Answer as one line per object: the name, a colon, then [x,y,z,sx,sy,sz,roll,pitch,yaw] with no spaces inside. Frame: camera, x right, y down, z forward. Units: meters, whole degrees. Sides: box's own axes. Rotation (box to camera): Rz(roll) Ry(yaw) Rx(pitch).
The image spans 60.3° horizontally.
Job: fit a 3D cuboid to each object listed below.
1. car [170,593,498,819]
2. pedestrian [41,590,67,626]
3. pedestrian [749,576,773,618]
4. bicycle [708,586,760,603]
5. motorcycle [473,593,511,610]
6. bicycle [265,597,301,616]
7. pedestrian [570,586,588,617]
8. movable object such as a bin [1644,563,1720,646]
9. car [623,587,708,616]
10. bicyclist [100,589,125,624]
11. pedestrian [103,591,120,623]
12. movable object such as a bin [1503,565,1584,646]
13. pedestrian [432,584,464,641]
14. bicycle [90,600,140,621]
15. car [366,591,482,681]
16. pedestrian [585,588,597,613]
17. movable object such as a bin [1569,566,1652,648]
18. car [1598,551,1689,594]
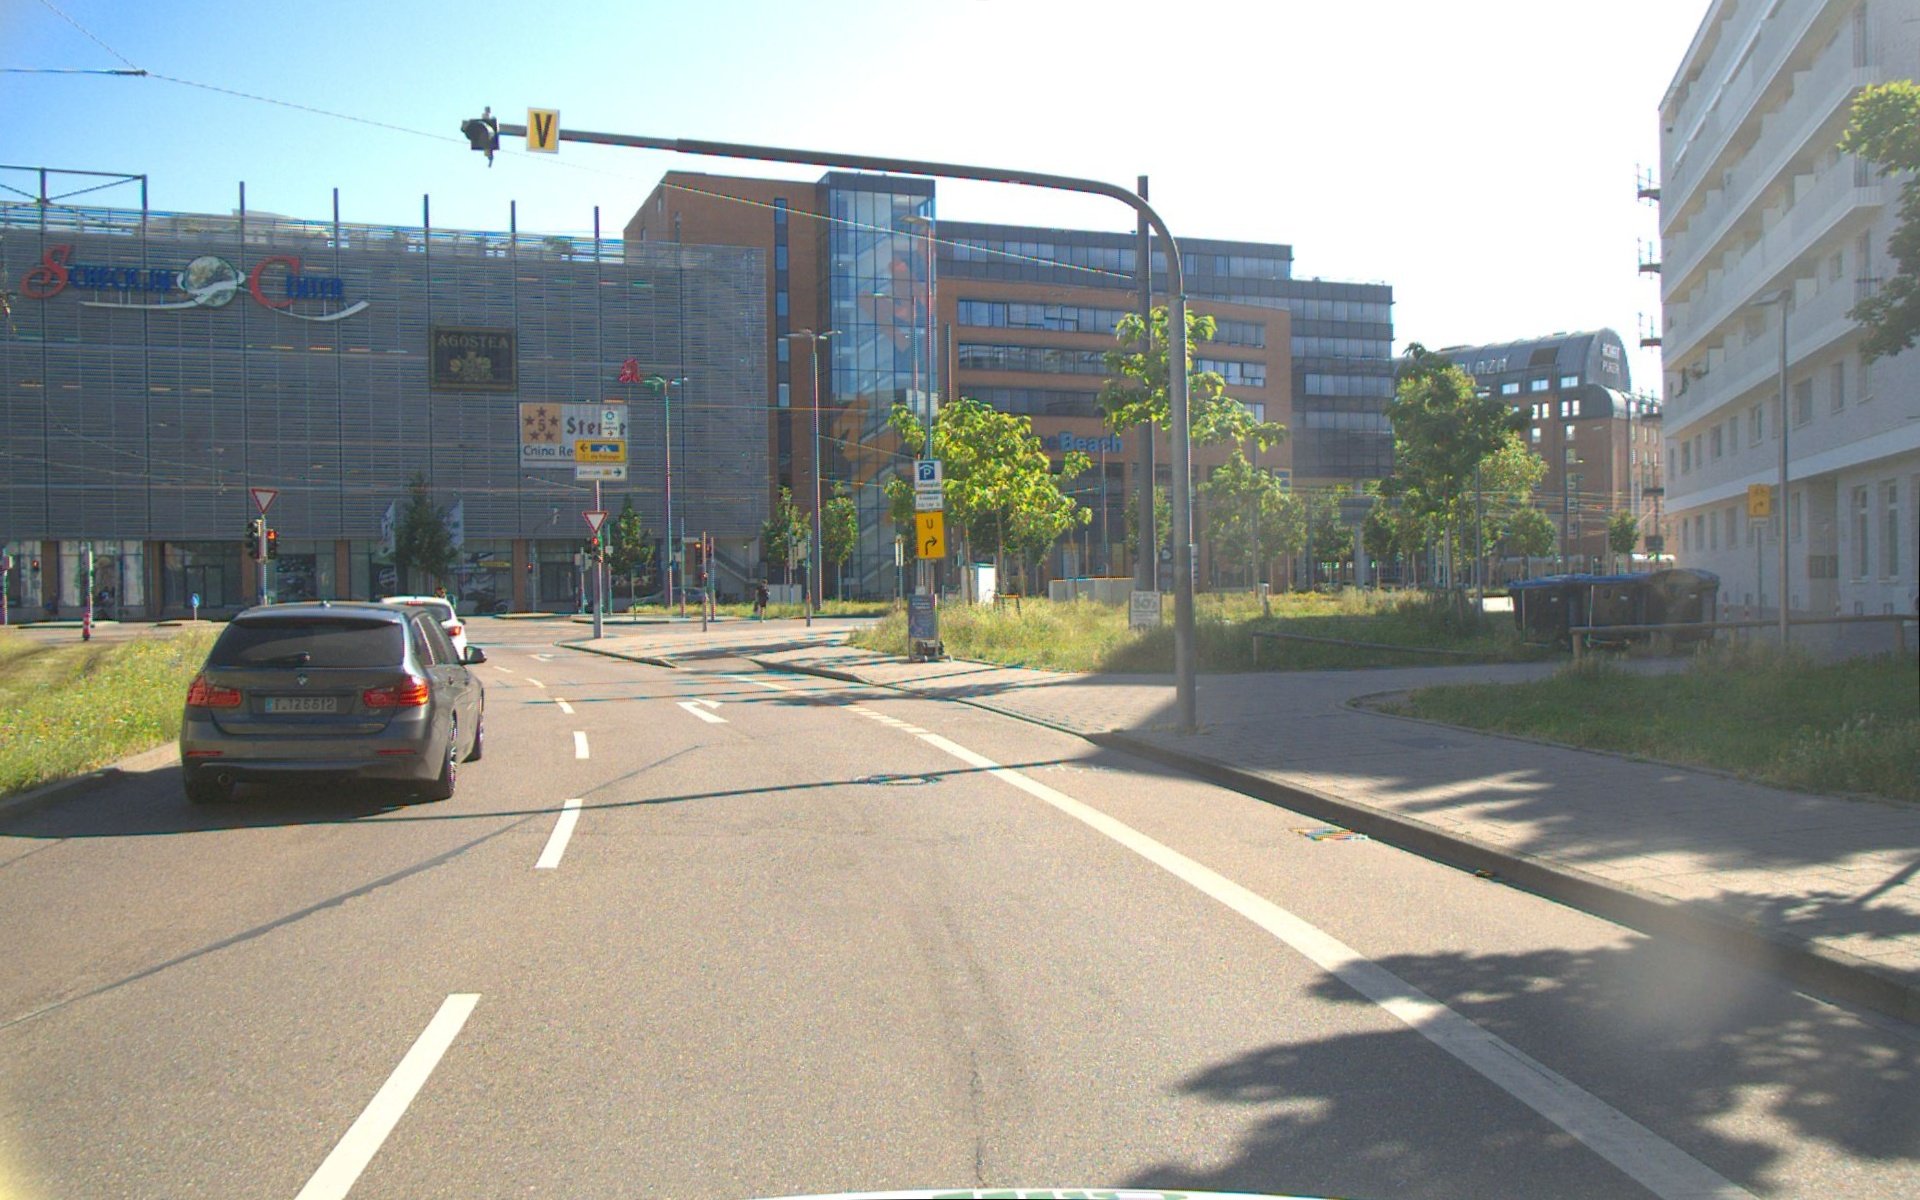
car: [-4.677,0.714,12.988,1.704,1.448,4.454,2,-1,-12]
pedestrian: [-48.352,0.423,88.270,0.884,1.901,0.821,-1,0,20]
pedestrian: [-8.225,-0.129,68.376,0.795,1.738,0.756,-1,0,-23]
bicycle: [-14.918,-0.391,109.100,3.307,1.096,1.112,0,1,-17]
motorcycle: [-29.057,0.094,102.708,2.172,1.061,1.054,0,1,-23]
bicycle: [-40.040,0.401,97.823,1.999,1.078,1.137,-1,0,-24]
pedestrian: [-22.012,0.061,95.486,0.844,1.768,0.746,-1,0,-29]
movable object such as a bin: [12.705,0.066,29.089,1.011,1.423,1.087,-1,1,35]
car: [-16.341,0.050,91.745,4.426,1.521,1.484,-1,0,-23]
bicyclist: [-45.613,0.346,89.005,0.797,1.834,0.844,-1,0,26]
pedestrian: [-48.929,0.386,95.374,0.837,1.794,0.615,-1,0,-24]
movable object such as a bin: [10.553,0.092,29.900,1.050,1.423,1.299,-1,1,35]
pedestrian: [-15.813,0.366,51.058,0.874,1.737,0.707,-1,0,-23]
bicycle: [-45.533,0.548,89.124,1.022,1.089,2.243,-1,1,27]
car: [-9.440,0.596,28.981,1.610,1.448,3.756,2,-1,-23]
pedestrian: [-22.877,0.030,102.482,0.581,1.561,0.653,-1,0,-23]
movable object such as a bin: [11.653,0.113,29.608,1.088,1.423,1.316,-1,1,35]
car: [33.857,-1.350,81.935,3.914,2.049,1.996,-1,0,31]
